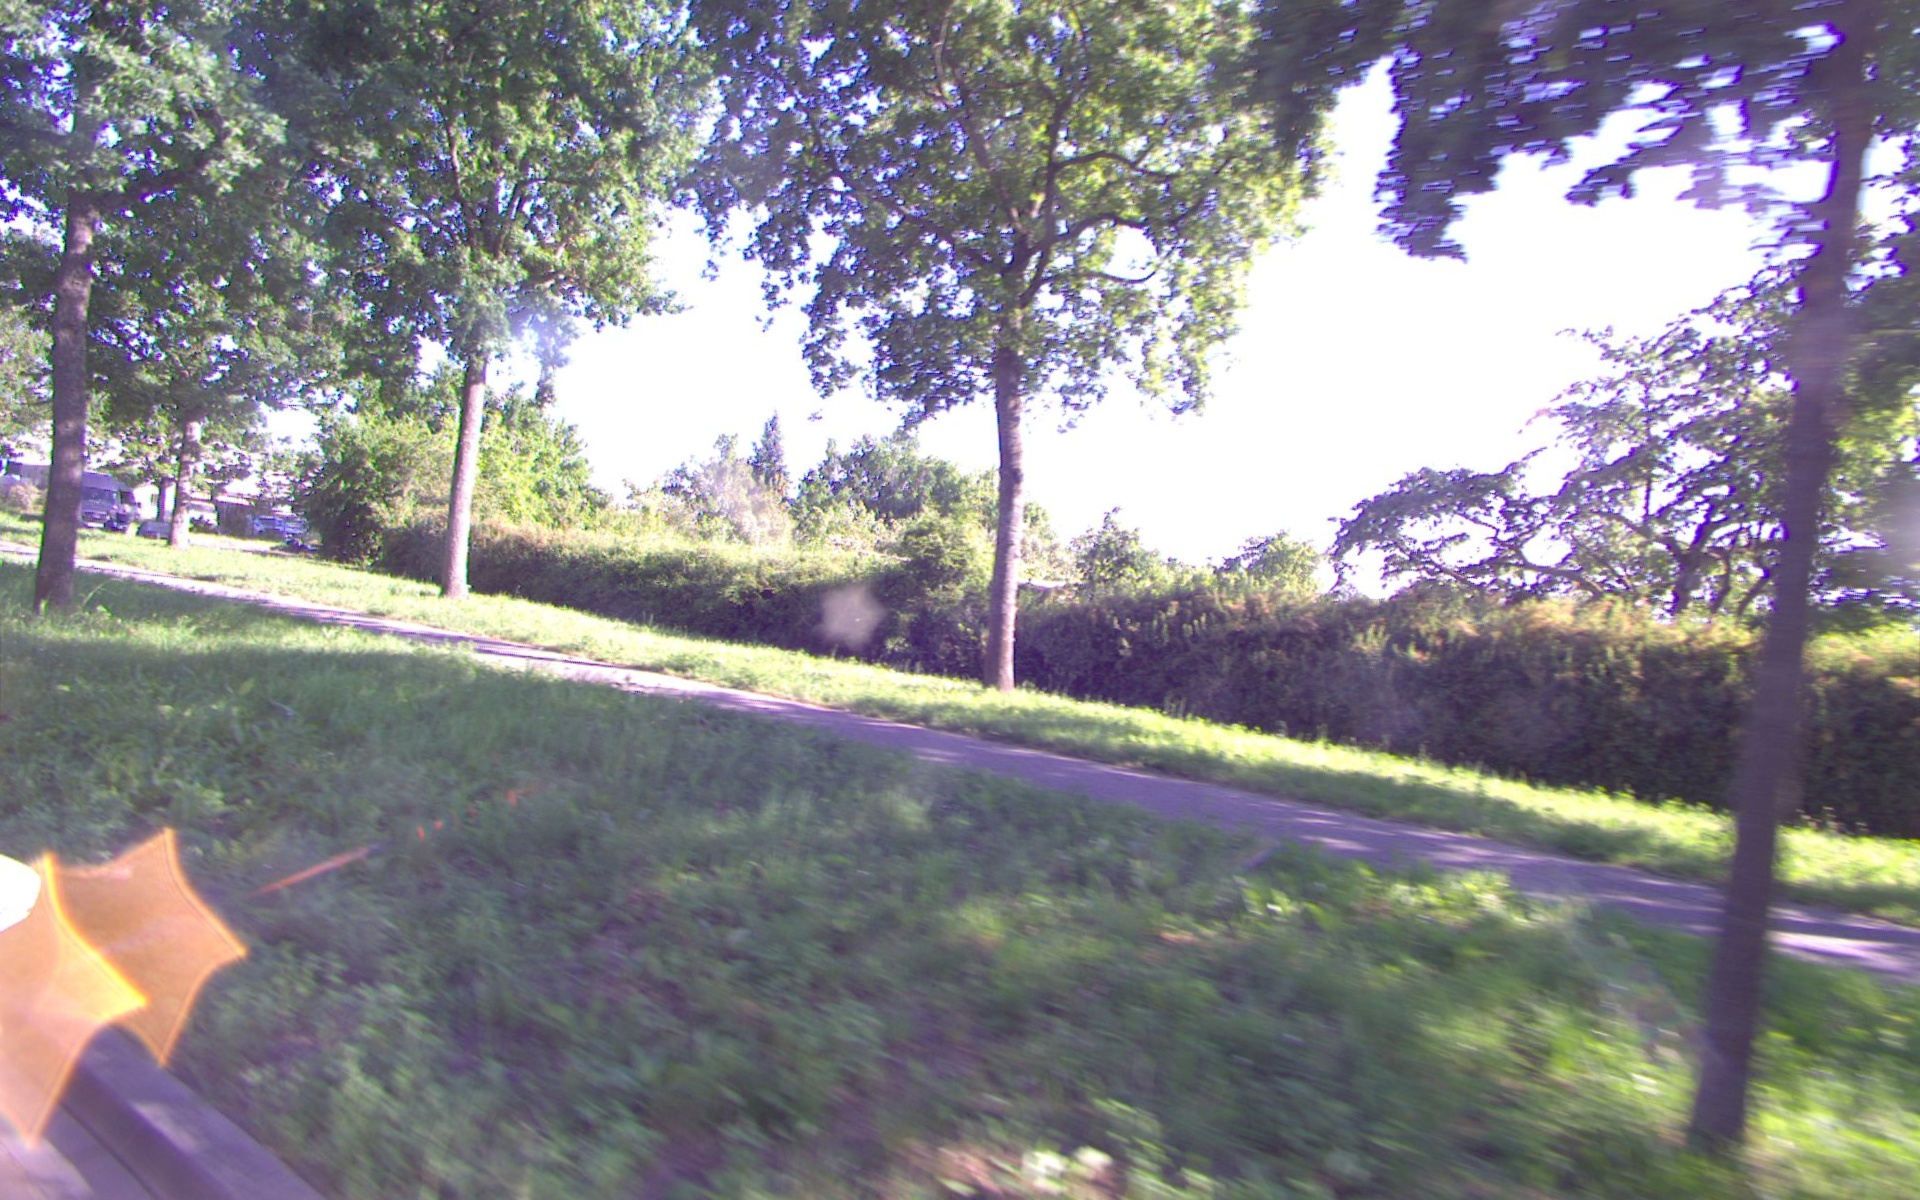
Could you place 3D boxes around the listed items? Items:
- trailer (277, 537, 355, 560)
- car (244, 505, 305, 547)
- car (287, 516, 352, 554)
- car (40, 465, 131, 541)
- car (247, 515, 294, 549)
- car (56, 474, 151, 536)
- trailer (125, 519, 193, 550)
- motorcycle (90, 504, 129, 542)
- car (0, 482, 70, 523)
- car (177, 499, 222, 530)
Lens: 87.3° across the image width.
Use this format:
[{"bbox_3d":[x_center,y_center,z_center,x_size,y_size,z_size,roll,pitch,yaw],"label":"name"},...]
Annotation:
[{"bbox_3d":[-33.825,-2.719,52.793,4.755,0.659,2.225,7,0,41],"label":"trailer"},{"bbox_3d":[-46.923,-5.083,68.797,4.940,2.087,2.083,11,1,41],"label":"car"},{"bbox_3d":[-39.320,-3.982,61.714,3.938,1.846,1.993,7,1,37],"label":"car"},{"bbox_3d":[-39.085,-4.375,44.893,5.885,2.597,2.083,11,1,41],"label":"car"},{"bbox_3d":[-40.558,-4.011,59.127,1.827,1.660,3.955,7,0,-40],"label":"car"},{"bbox_3d":[-45.496,-5.059,53.409,4.767,2.676,2.164,7,1,29],"label":"car"},{"bbox_3d":[-29.719,-2.402,37.318,2.027,0.878,1.576,2,-4,41],"label":"trailer"},{"bbox_3d":[-31.741,-2.850,37.544,2.374,1.245,0.662,1,-3,41],"label":"motorcycle"},{"bbox_3d":[-47.863,-5.048,51.750,3.535,1.685,2.009,7,0,29],"label":"car"},{"bbox_3d":[-49.372,-5.589,65.297,1.829,1.660,3.950,6,0,-43],"label":"car"}]
